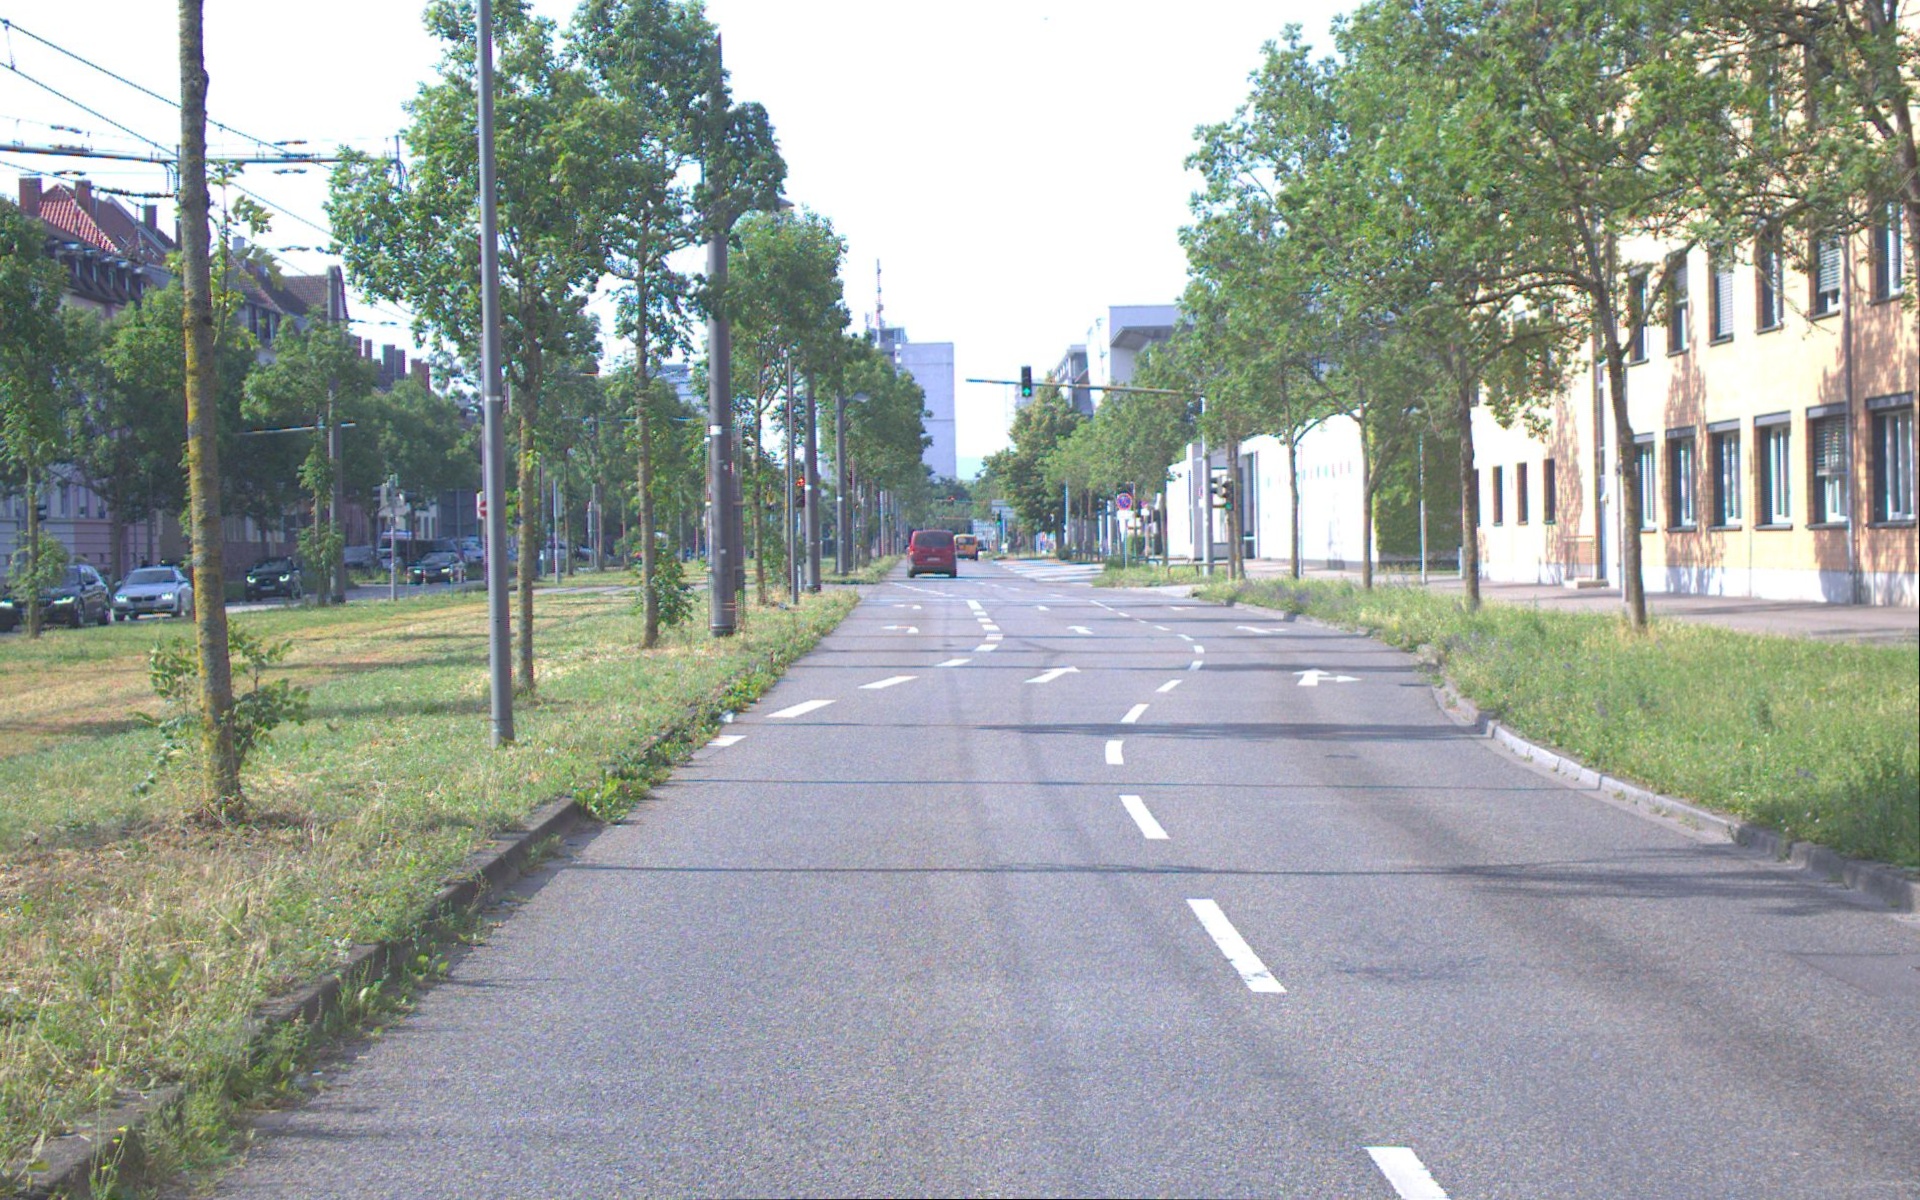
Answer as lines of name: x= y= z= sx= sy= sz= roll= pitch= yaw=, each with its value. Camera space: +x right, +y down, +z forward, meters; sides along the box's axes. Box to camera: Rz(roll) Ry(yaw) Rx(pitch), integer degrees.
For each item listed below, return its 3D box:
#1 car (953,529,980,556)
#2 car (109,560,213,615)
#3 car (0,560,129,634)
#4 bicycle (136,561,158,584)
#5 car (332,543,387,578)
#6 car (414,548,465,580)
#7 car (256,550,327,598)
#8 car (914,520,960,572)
car: x=0.424 y=-3.732 z=223.618 sx=1.748 sy=1.645 sz=3.216 roll=1 pitch=0 yaw=0
car: x=-22.263 y=-0.354 z=95.975 sx=1.947 sy=1.454 sz=4.649 roll=1 pitch=0 yaw=-2
car: x=-21.067 y=-0.095 z=80.135 sx=1.993 sy=1.624 sz=5.380 roll=1 pitch=0 yaw=1
bicycle: x=-31.858 y=-1.080 z=134.768 sx=0.447 sy=0.854 sz=1.948 roll=1 pitch=0 yaw=-2
car: x=-29.285 y=-1.938 z=167.751 sx=1.993 sy=1.623 sz=4.776 roll=1 pitch=1 yaw=-2
car: x=-23.771 y=-1.633 z=157.078 sx=1.812 sy=1.428 sz=3.926 roll=1 pitch=0 yaw=-1
car: x=-23.657 y=-0.917 z=121.787 sx=1.764 sy=1.650 sz=4.000 roll=1 pitch=0 yaw=-1
car: x=-0.901 y=-2.114 z=135.539 sx=1.748 sy=2.007 sz=3.216 roll=1 pitch=0 yaw=0
